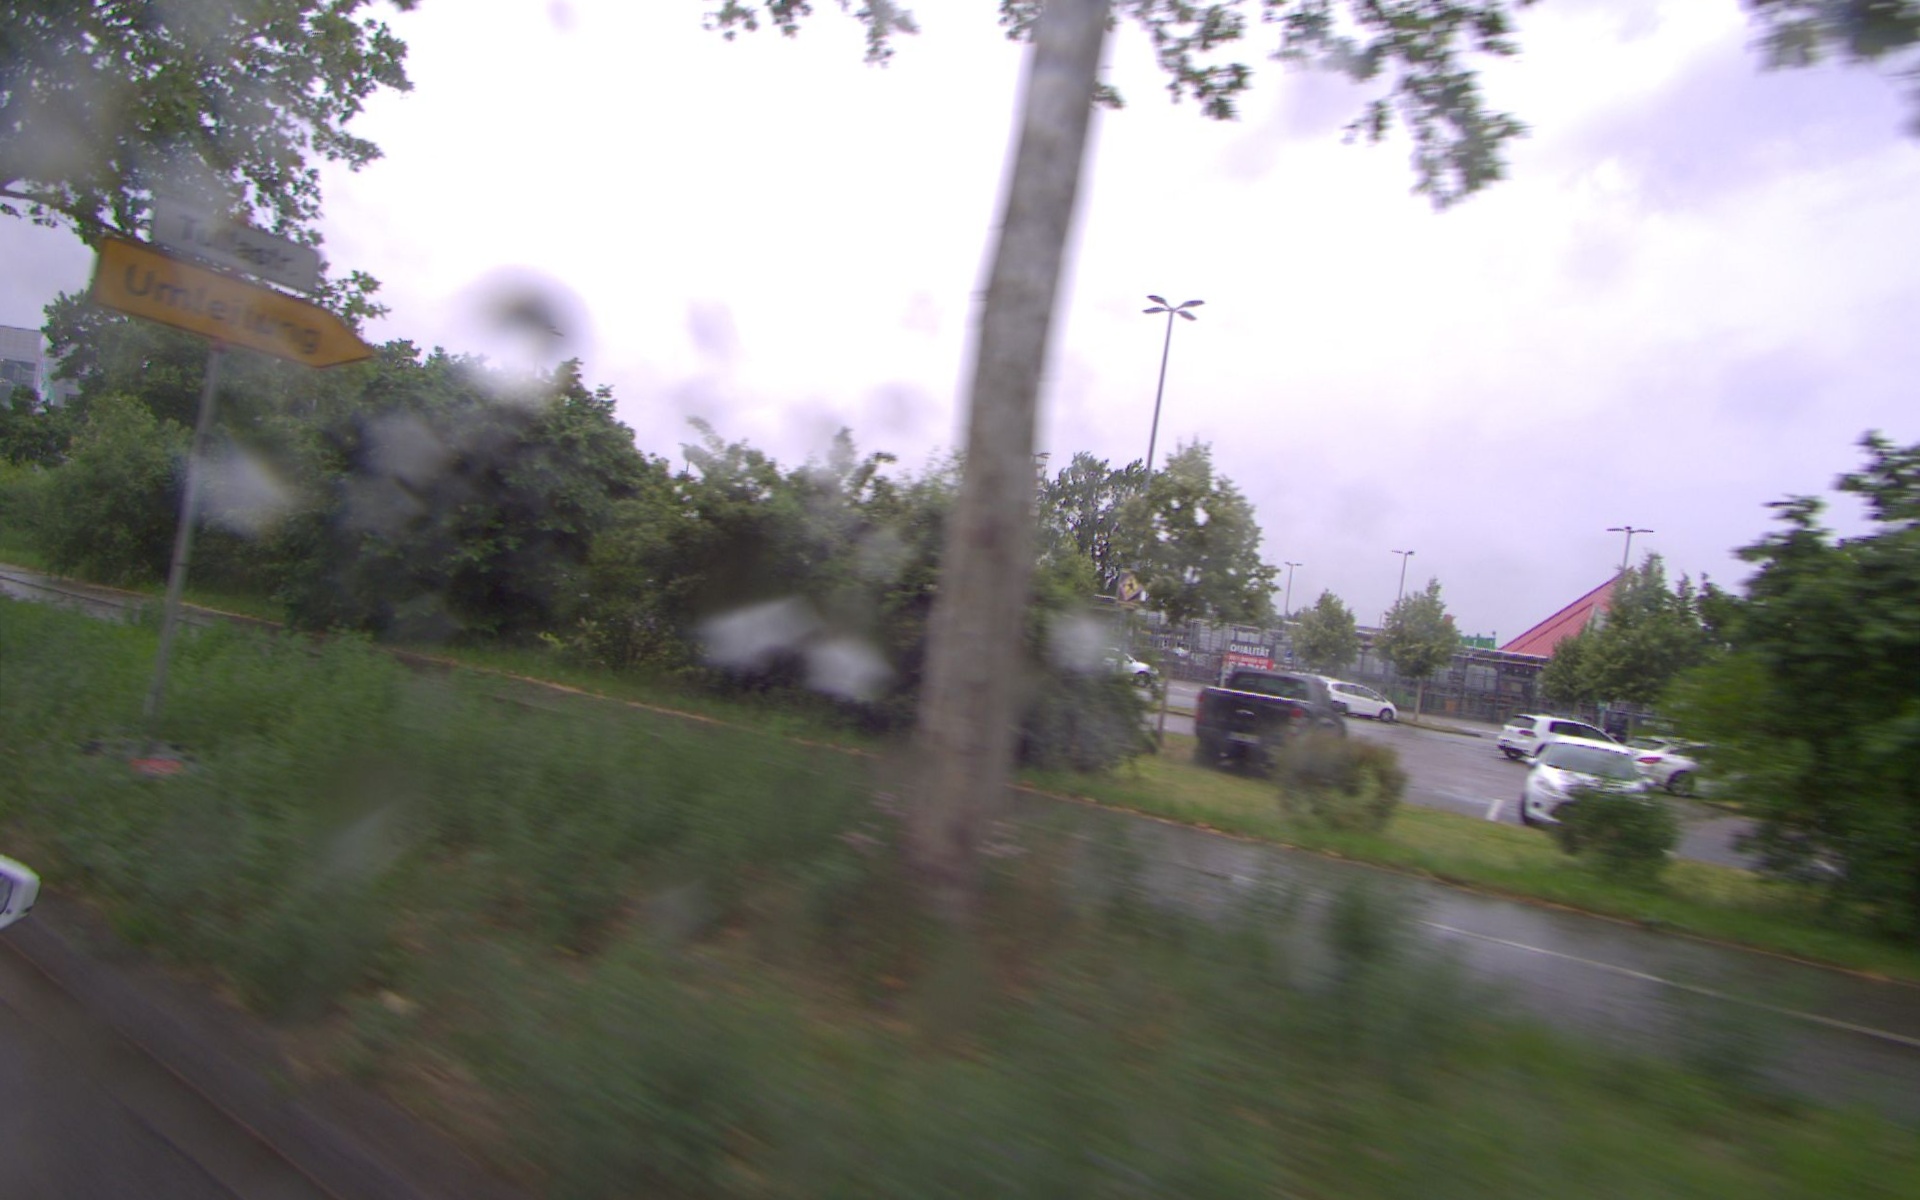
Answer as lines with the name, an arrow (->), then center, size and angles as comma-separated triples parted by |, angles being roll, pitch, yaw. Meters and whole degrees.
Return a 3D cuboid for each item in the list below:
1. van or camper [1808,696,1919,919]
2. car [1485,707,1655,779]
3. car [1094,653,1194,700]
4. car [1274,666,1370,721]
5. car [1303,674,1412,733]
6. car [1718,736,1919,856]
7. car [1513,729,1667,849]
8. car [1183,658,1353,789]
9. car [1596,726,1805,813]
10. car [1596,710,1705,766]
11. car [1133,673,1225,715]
van or camper -> 13.528, 2.855, 13.642 | 1.967, 2.617, 5.734 | 11, 0, 33
car -> 18.545, 4.346, 30.694 | 4.002, 1.496, 1.786 | 8, -2, -3
car -> 8.256, 3.424, 45.288 | 4.002, 1.496, 1.786 | 8, -2, -3
car -> 17.433, 4.488, 48.605 | 3.720, 2.037, 1.899 | 8, -2, -3
car -> 18.148, 4.709, 46.025 | 4.002, 2.037, 1.899 | 8, -2, -3
car -> 17.102, 3.784, 19.345 | 3.803, 1.721, 1.611 | 5, -3, 42
car -> 10.664, 3.065, 16.934 | 1.848, 1.473, 3.992 | 6, -2, 35
car -> 5.504, 2.128, 17.648 | 1.849, 1.774, 3.997 | 7, -2, 30
car -> 18.911, 4.318, 25.811 | 4.002, 1.496, 1.786 | 8, -2, -3
car -> 33.772, 6.751, 49.267 | 3.928, 2.037, 1.899 | 8, -2, -3
car -> 10.881, 4.670, 50.089 | 4.002, 1.496, 1.786 | 8, -2, -3
